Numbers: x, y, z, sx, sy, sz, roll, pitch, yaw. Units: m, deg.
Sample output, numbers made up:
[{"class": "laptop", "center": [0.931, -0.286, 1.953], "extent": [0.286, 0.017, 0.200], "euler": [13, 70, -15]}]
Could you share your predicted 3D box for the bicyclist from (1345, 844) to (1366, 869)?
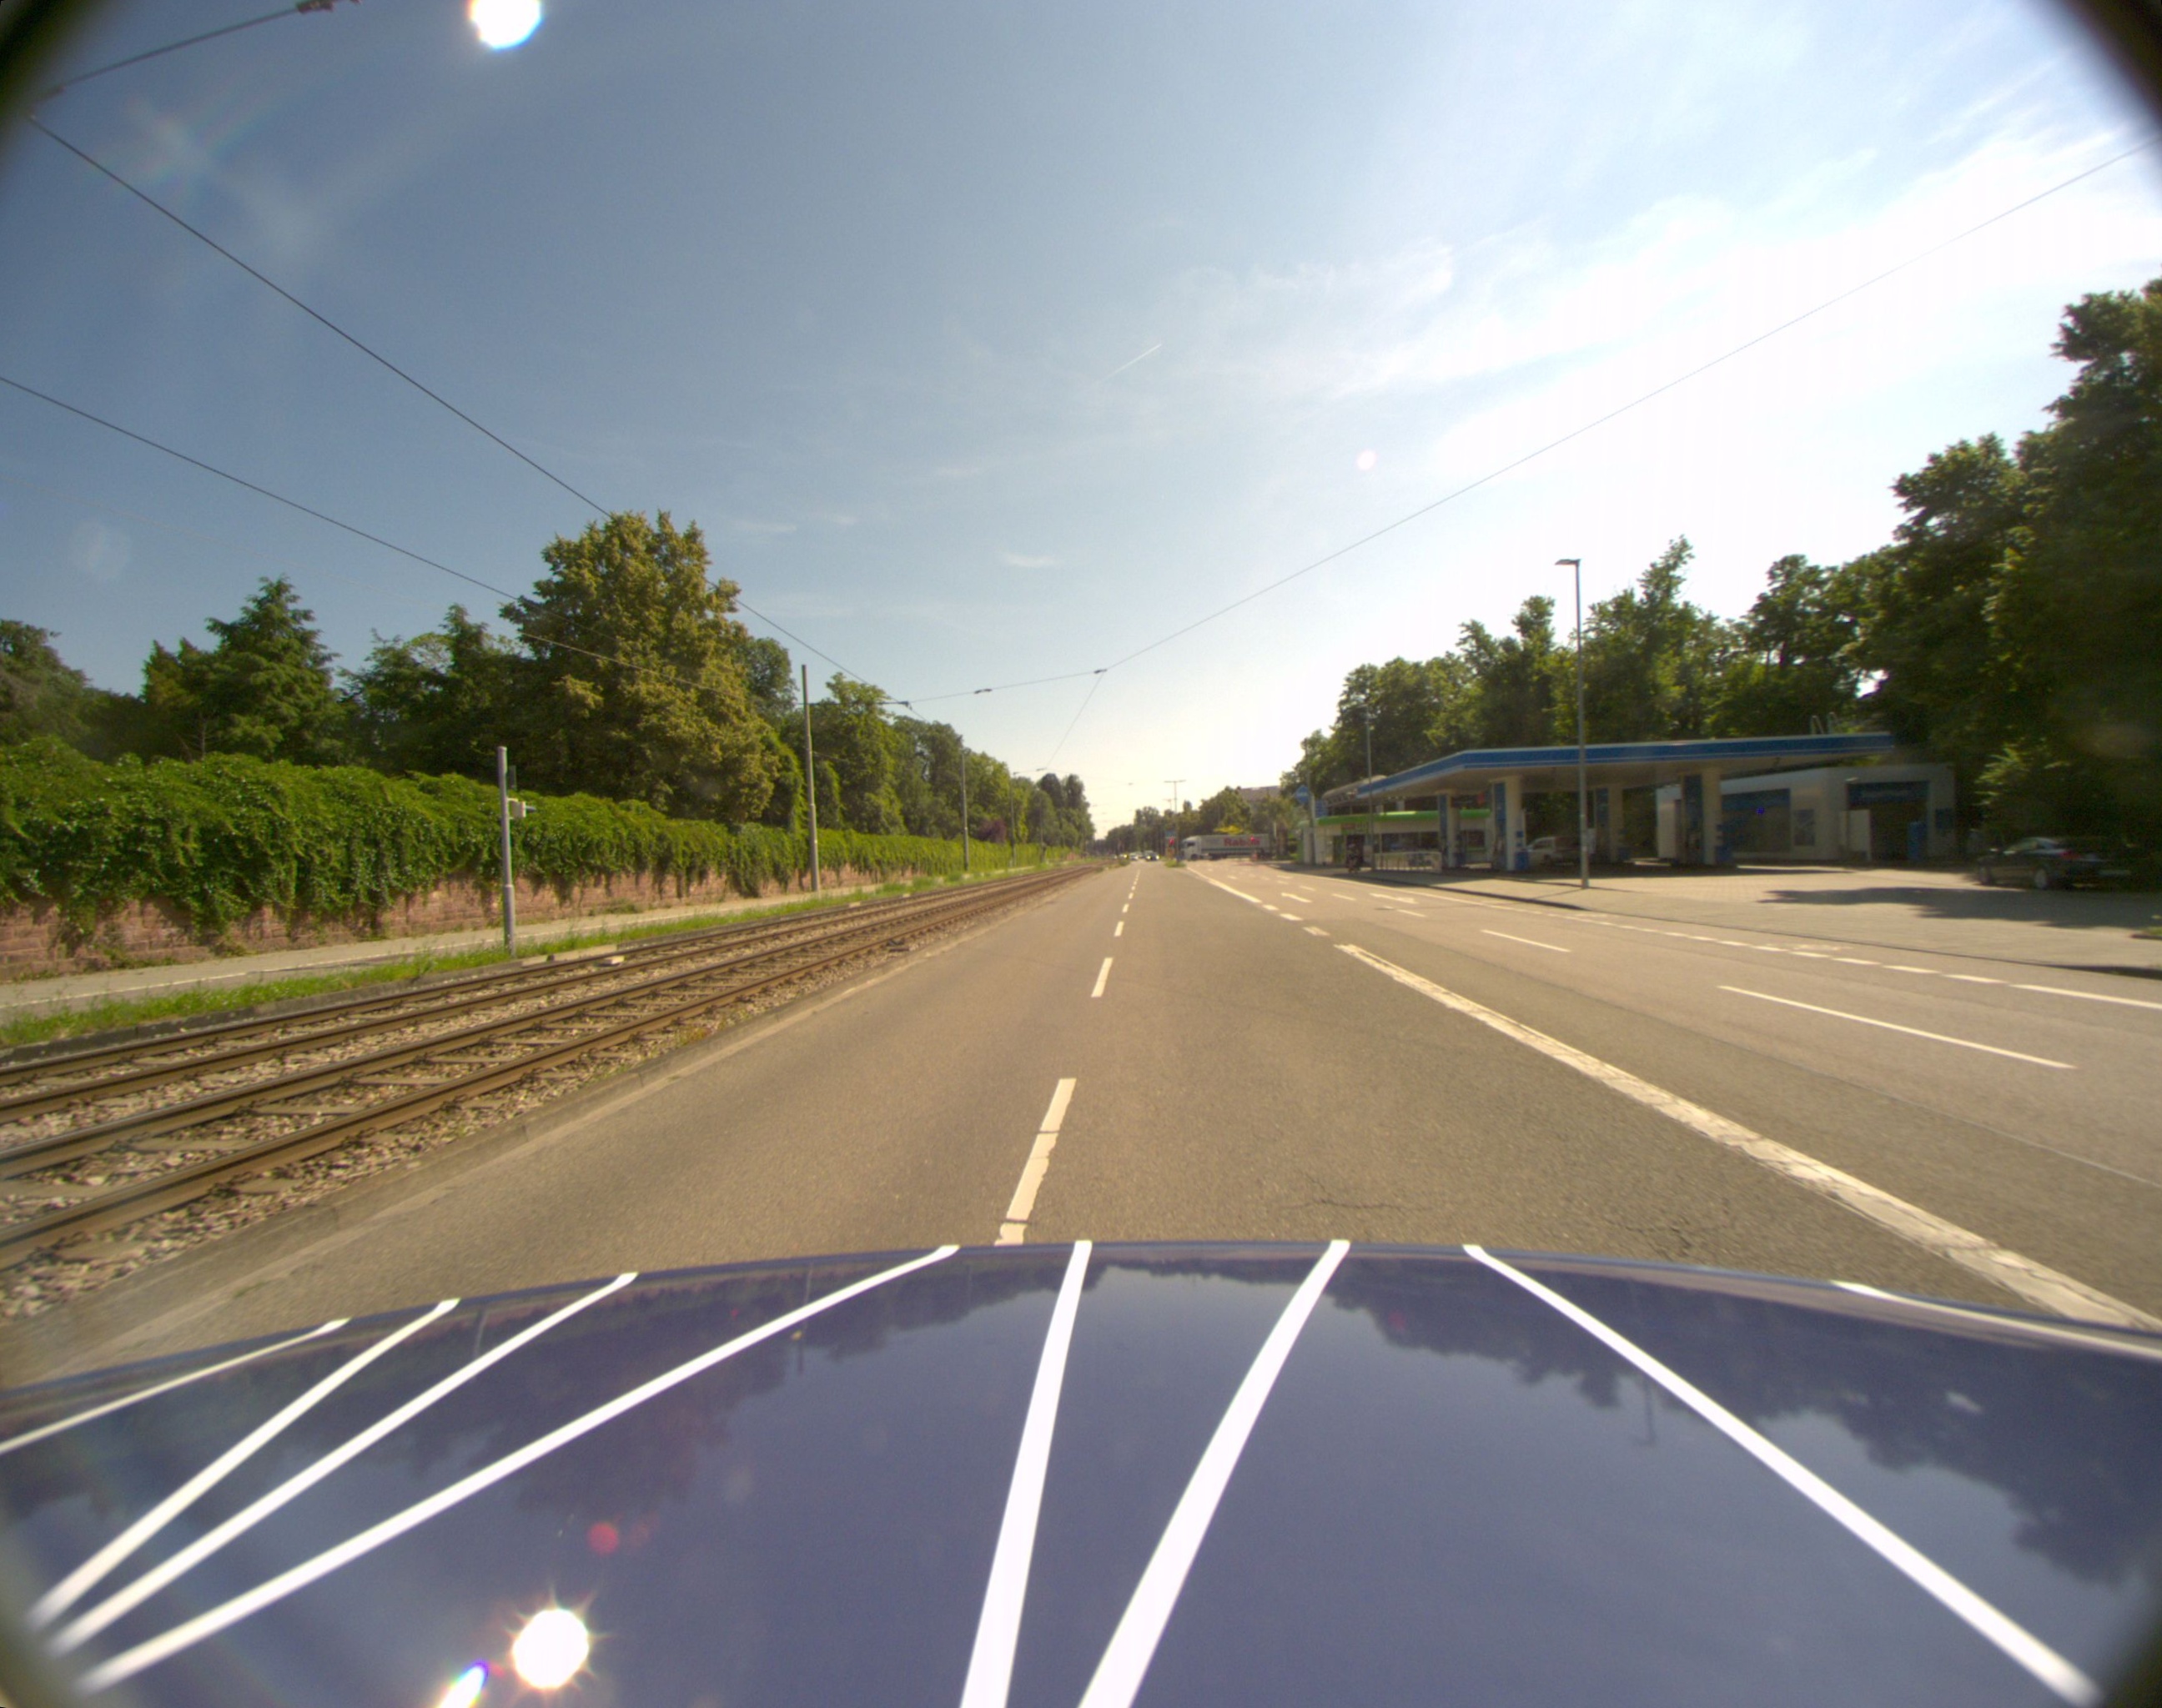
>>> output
[{"class": "bicyclist", "center": [16.230, 0.159, 44.938], "extent": [0.849, 1.427, 0.833], "euler": [-3, -1, 1]}]

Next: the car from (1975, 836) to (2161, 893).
[{"class": "car", "center": [26.200, 0.239, 20.171], "extent": [1.801, 1.338, 4.251], "euler": [-1, 0, 29]}]

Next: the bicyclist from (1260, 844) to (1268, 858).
[{"class": "bicyclist", "center": [23.443, -0.406, 97.292], "extent": [0.837, 1.664, 0.827], "euler": [-3, -1, 5]}]

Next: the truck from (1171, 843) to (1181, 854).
[{"class": "truck", "center": [23.146, -1.341, 185.818], "extent": [2.335, 2.652, 7.362], "euler": [-1, 0, 6]}]

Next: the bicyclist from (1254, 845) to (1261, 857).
[{"class": "bicyclist", "center": [22.204, -0.407, 95.589], "extent": [0.710, 1.412, 0.739], "euler": [-3, -1, -3]}]

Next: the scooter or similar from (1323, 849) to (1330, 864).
[{"class": "scooter or similar", "center": [20.544, 0.172, 63.626], "extent": [0.442, 1.230, 1.347], "euler": [-2, 0, 15]}]

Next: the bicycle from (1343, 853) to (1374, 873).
[{"class": "bicycle", "center": [16.147, 0.522, 44.342], "extent": [0.827, 1.088, 2.772], "euler": [-2, 0, 2]}]

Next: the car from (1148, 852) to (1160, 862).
[{"class": "car", "center": [12.811, 0.499, 133.652], "extent": [1.755, 1.573, 4.505], "euler": [-2, 0, 0]}]

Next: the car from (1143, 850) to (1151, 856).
[{"class": "car", "center": [17.681, -0.289, 203.999], "extent": [1.930, 1.593, 4.469], "euler": [-3, 0, 2]}]

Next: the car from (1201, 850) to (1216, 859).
[{"class": "car", "center": [22.470, 0.067, 134.123], "extent": [1.755, 1.501, 4.398], "euler": [-2, -1, -1]}]

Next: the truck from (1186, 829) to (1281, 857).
[{"class": "truck", "center": [23.777, -1.714, 118.943], "extent": [14.293, 3.984, 2.854], "euler": [-2, 0, 0]}]

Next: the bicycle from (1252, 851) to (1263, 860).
[{"class": "bicycle", "center": [22.256, 0.226, 95.772], "extent": [0.752, 1.051, 2.075], "euler": [-2, 0, -4]}]

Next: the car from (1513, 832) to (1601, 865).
[{"class": "car", "center": [28.269, -0.308, 45.408], "extent": [1.848, 1.771, 5.966], "euler": [-2, 0, 4]}]

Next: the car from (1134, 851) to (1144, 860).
[{"class": "car", "center": [11.477, 0.345, 150.643], "extent": [1.930, 1.593, 4.469], "euler": [-3, 0, 3]}]

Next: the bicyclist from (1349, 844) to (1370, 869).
[{"class": "bicyclist", "center": [16.176, 0.136, 44.108], "extent": [0.849, 1.427, 0.833], "euler": [-2, -1, 2]}]

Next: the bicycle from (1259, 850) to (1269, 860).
[{"class": "bicycle", "center": [23.486, 0.113, 97.446], "extent": [0.939, 1.168, 2.212], "euler": [-2, 0, 7]}]
